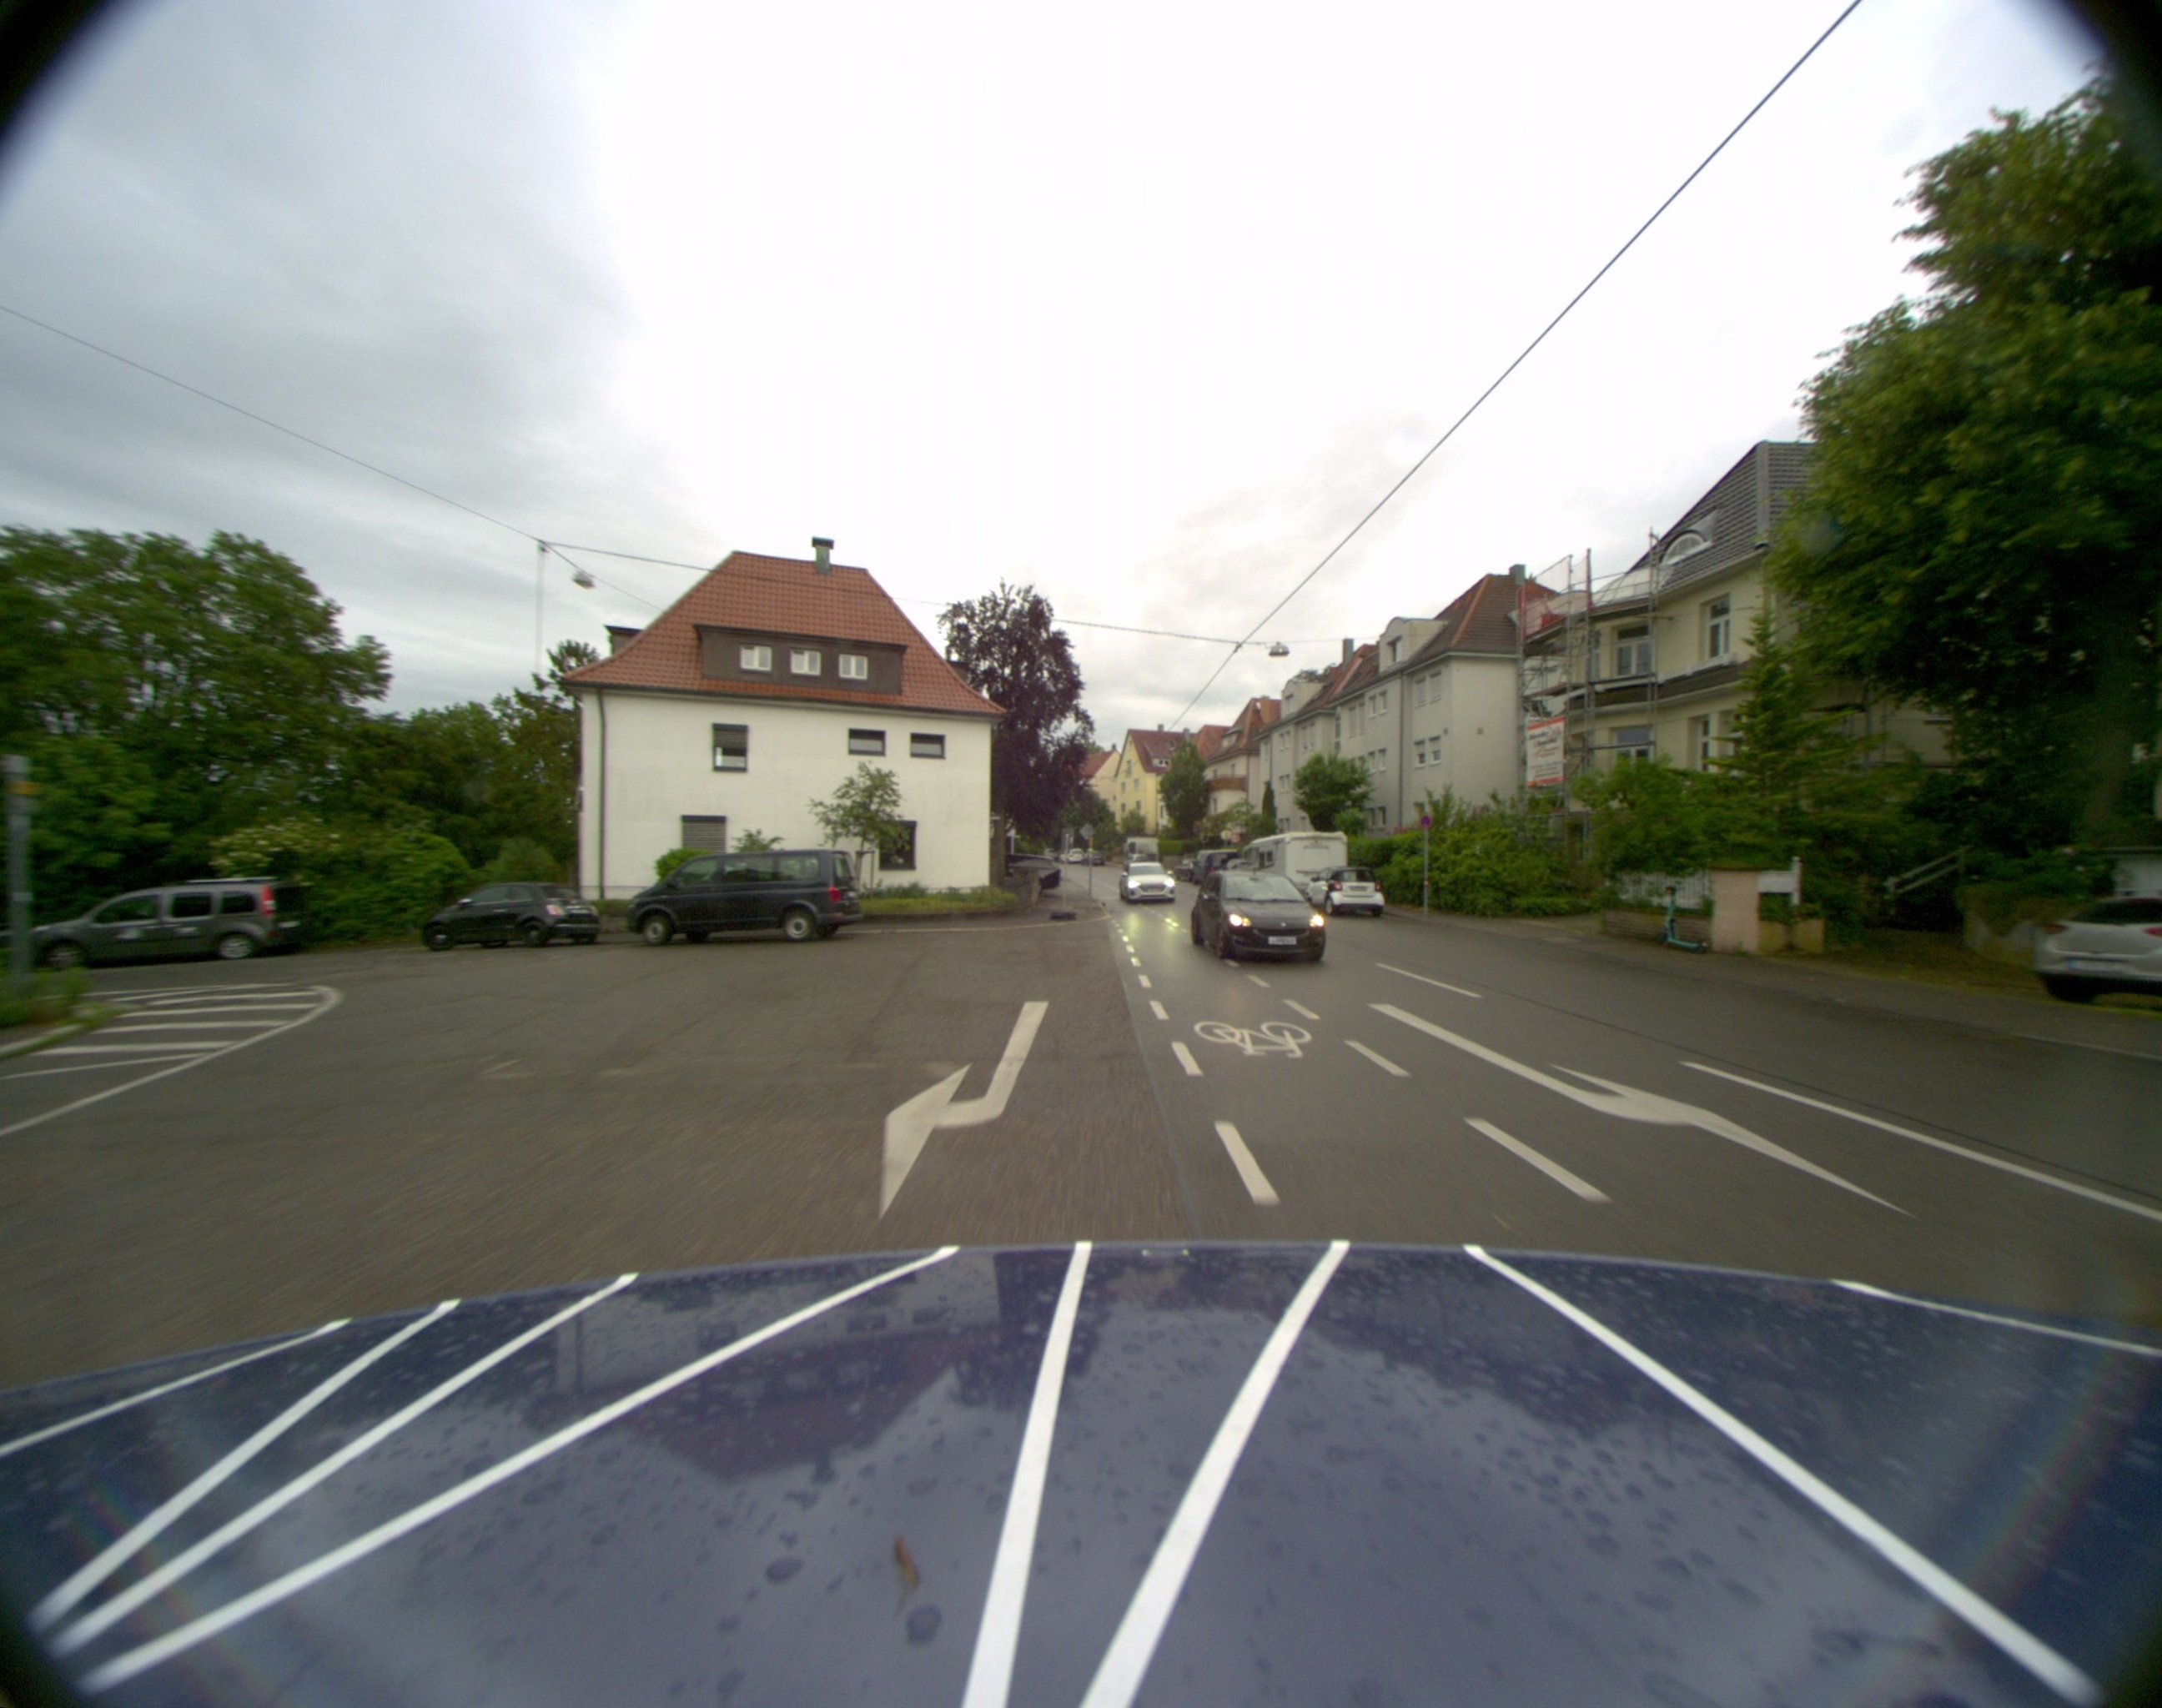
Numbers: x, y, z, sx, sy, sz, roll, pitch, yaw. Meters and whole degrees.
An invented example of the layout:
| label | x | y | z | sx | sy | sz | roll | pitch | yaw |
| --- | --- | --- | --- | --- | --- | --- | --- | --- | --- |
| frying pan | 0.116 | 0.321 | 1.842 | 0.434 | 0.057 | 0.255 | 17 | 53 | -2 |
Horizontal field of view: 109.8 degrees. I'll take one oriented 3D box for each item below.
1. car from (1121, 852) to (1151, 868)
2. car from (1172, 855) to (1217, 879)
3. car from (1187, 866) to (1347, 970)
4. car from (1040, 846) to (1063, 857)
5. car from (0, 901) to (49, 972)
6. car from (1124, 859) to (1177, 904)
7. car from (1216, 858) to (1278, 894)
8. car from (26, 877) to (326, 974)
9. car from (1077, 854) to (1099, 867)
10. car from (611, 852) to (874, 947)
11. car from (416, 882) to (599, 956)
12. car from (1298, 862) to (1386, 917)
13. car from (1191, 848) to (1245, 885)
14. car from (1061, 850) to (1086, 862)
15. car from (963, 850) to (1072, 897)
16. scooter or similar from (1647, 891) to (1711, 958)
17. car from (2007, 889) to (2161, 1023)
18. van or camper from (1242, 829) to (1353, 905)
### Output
| label | x | y | z | sx | sy | sz | roll | pitch | yaw |
| --- | --- | --- | --- | --- | --- | --- | --- | --- | --- |
| car | 4.812 | 0.507 | 66.797 | 1.681 | 1.364 | 3.436 | -1 | 1 | -14 |
| car | 7.317 | 0.828 | 49.430 | 1.680 | 1.365 | 4.507 | -1 | 2 | -7 |
| car | 3.088 | 1.001 | 13.374 | 1.898 | 1.455 | 3.681 | -1 | 1 | 0 |
| car | -3.882 | -0.298 | 99.291 | 1.682 | 1.364 | 4.429 | -1 | 1 | -18 |
| car | -24.995 | 1.829 | 15.676 | 4.005 | 1.455 | 1.768 | -1 | 1 | -24 |
| car | 2.887 | 1.101 | 32.195 | 1.795 | 1.689 | 3.890 | -1 | 1 | -1 |
| car | 8.010 | 1.020 | 37.098 | 1.837 | 1.585 | 4.745 | 0 | 1 | -2 |
| car | -20.410 | 1.545 | 17.394 | 4.004 | 1.849 | 1.768 | -1 | 1 | -22 |
| car | 0.676 | 0.671 | 80.343 | 1.681 | 1.364 | 3.437 | -1 | 1 | -10 |
| car | -7.300 | 0.945 | 16.773 | 4.920 | 1.936 | 1.940 | 0 | 1 | -1 |
| car | -12.776 | 1.448 | 16.983 | 3.264 | 1.431 | 1.325 | -4 | -4 | 7 |
| car | 8.375 | 1.091 | 24.674 | 1.599 | 1.585 | 3.316 | 0 | 1 | -2 |
| car | 7.813 | 0.668 | 43.679 | 1.837 | 1.976 | 4.578 | -1 | 1 | -6 |
| car | -0.892 | 0.241 | 89.667 | 1.682 | 1.364 | 4.429 | 2 | 0 | -18 |
| car | -2.872 | 0.870 | 34.781 | 4.744 | 1.799 | 1.941 | 3 | 1 | -2 |
| scooter or similar | 11.471 | 1.332 | 14.602 | 0.402 | 1.181 | 1.141 | -1 | 1 | 4 |
| car | 14.323 | 1.271 | 9.417 | 3.589 | 1.531 | 1.710 | 2 | -2 | 0 |
| van or camper | 8.346 | 0.427 | 30.042 | 2.354 | 2.709 | 6.114 | 0 | 1 | -3 |
